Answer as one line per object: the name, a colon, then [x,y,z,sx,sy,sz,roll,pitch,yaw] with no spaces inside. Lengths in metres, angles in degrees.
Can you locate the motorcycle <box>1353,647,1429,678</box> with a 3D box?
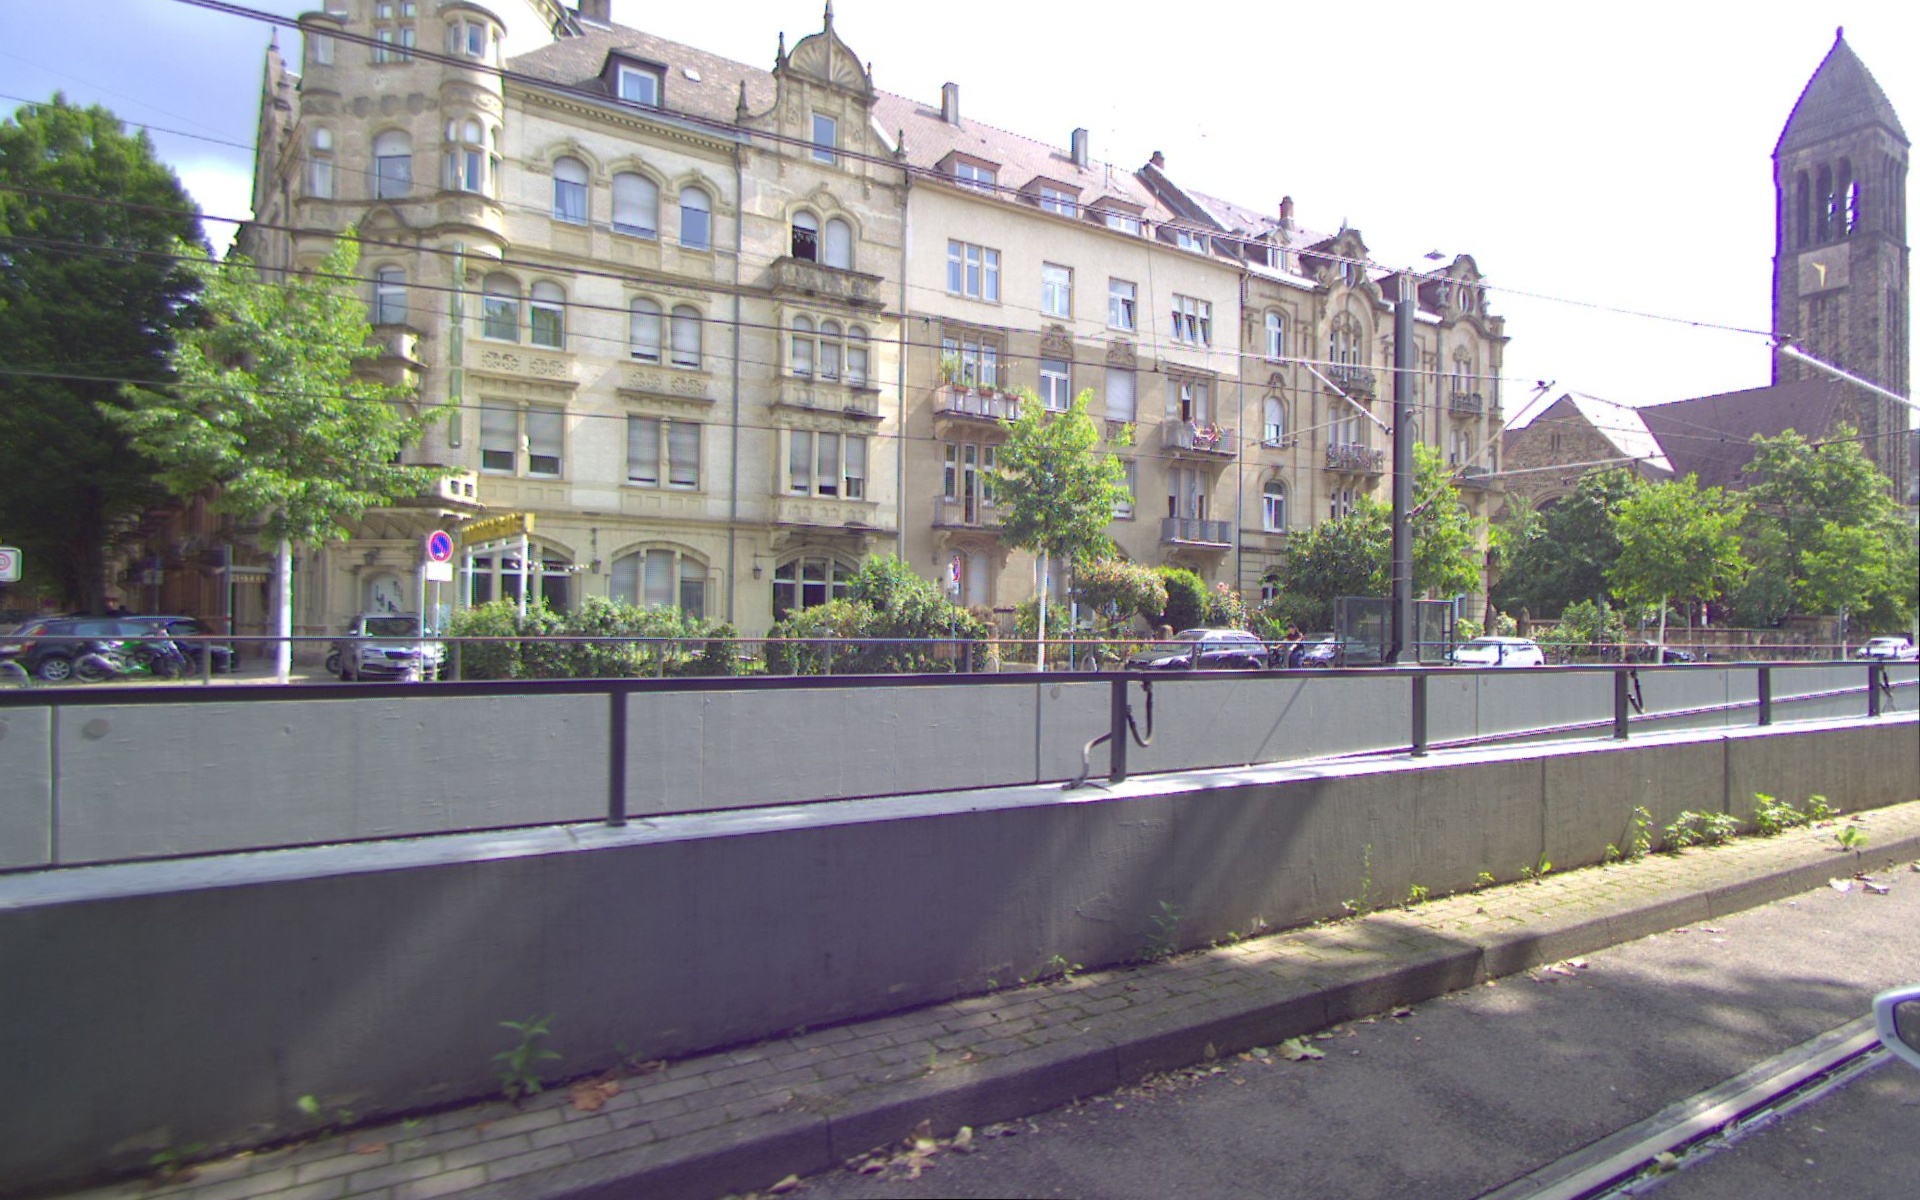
motorcycle: [13.853,1.997,32.296,1.402,0.953,1.752,1,-3,-31]

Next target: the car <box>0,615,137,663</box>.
car: [-33.503,1.452,37.802,3.739,1.723,1.667,2,-2,-35]

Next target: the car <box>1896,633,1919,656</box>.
car: [73.742,3.377,76.068,1.874,1.771,3.848,1,-2,-32]

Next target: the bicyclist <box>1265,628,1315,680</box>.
bicyclist: [8.868,1.452,26.959,1.036,1.355,0.764,1,-3,-30]

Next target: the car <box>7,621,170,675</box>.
car: [-25.409,1.379,29.376,3.490,1.505,1.663,2,-2,-43]

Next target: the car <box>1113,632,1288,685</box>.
car: [6.670,1.574,27.723,4.669,1.345,1.940,1,-2,-30]

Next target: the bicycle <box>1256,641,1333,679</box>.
bicycle: [9.004,1.612,27.008,2.115,0.991,0.772,1,-3,-30]

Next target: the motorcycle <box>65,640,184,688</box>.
motorcycle: [-18.434,1.400,22.204,1.986,1.007,0.517,2,-2,-43]

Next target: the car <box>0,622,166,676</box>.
car: [-27.659,1.500,31.720,3.968,1.515,1.976,-1,-1,-41]

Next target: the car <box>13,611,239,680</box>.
car: [-20.200,1.079,24.458,4.110,1.540,1.662,2,-2,-43]

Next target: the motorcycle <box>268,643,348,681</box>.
motorcycle: [-16.180,1.536,24.946,1.564,0.935,0.492,1,-1,-12]

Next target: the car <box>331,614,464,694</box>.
car: [-12.868,1.163,22.859,2.019,1.627,3.919,2,-2,-39]

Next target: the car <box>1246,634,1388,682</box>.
car: [10.766,1.699,30.213,4.056,1.345,2.008,1,-2,-33]

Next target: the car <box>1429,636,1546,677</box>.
car: [18.399,1.932,34.980,4.266,1.345,1.742,2,-2,-33]

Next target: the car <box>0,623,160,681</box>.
car: [-24.334,1.403,27.612,1.661,1.512,3.493,-1,-2,45]

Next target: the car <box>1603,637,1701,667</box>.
car: [36.676,2.736,53.304,1.703,1.483,3.945,1,-2,-29]

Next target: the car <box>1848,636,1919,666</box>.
car: [49.968,2.735,54.230,4.365,1.524,1.920,1,-2,-32]
